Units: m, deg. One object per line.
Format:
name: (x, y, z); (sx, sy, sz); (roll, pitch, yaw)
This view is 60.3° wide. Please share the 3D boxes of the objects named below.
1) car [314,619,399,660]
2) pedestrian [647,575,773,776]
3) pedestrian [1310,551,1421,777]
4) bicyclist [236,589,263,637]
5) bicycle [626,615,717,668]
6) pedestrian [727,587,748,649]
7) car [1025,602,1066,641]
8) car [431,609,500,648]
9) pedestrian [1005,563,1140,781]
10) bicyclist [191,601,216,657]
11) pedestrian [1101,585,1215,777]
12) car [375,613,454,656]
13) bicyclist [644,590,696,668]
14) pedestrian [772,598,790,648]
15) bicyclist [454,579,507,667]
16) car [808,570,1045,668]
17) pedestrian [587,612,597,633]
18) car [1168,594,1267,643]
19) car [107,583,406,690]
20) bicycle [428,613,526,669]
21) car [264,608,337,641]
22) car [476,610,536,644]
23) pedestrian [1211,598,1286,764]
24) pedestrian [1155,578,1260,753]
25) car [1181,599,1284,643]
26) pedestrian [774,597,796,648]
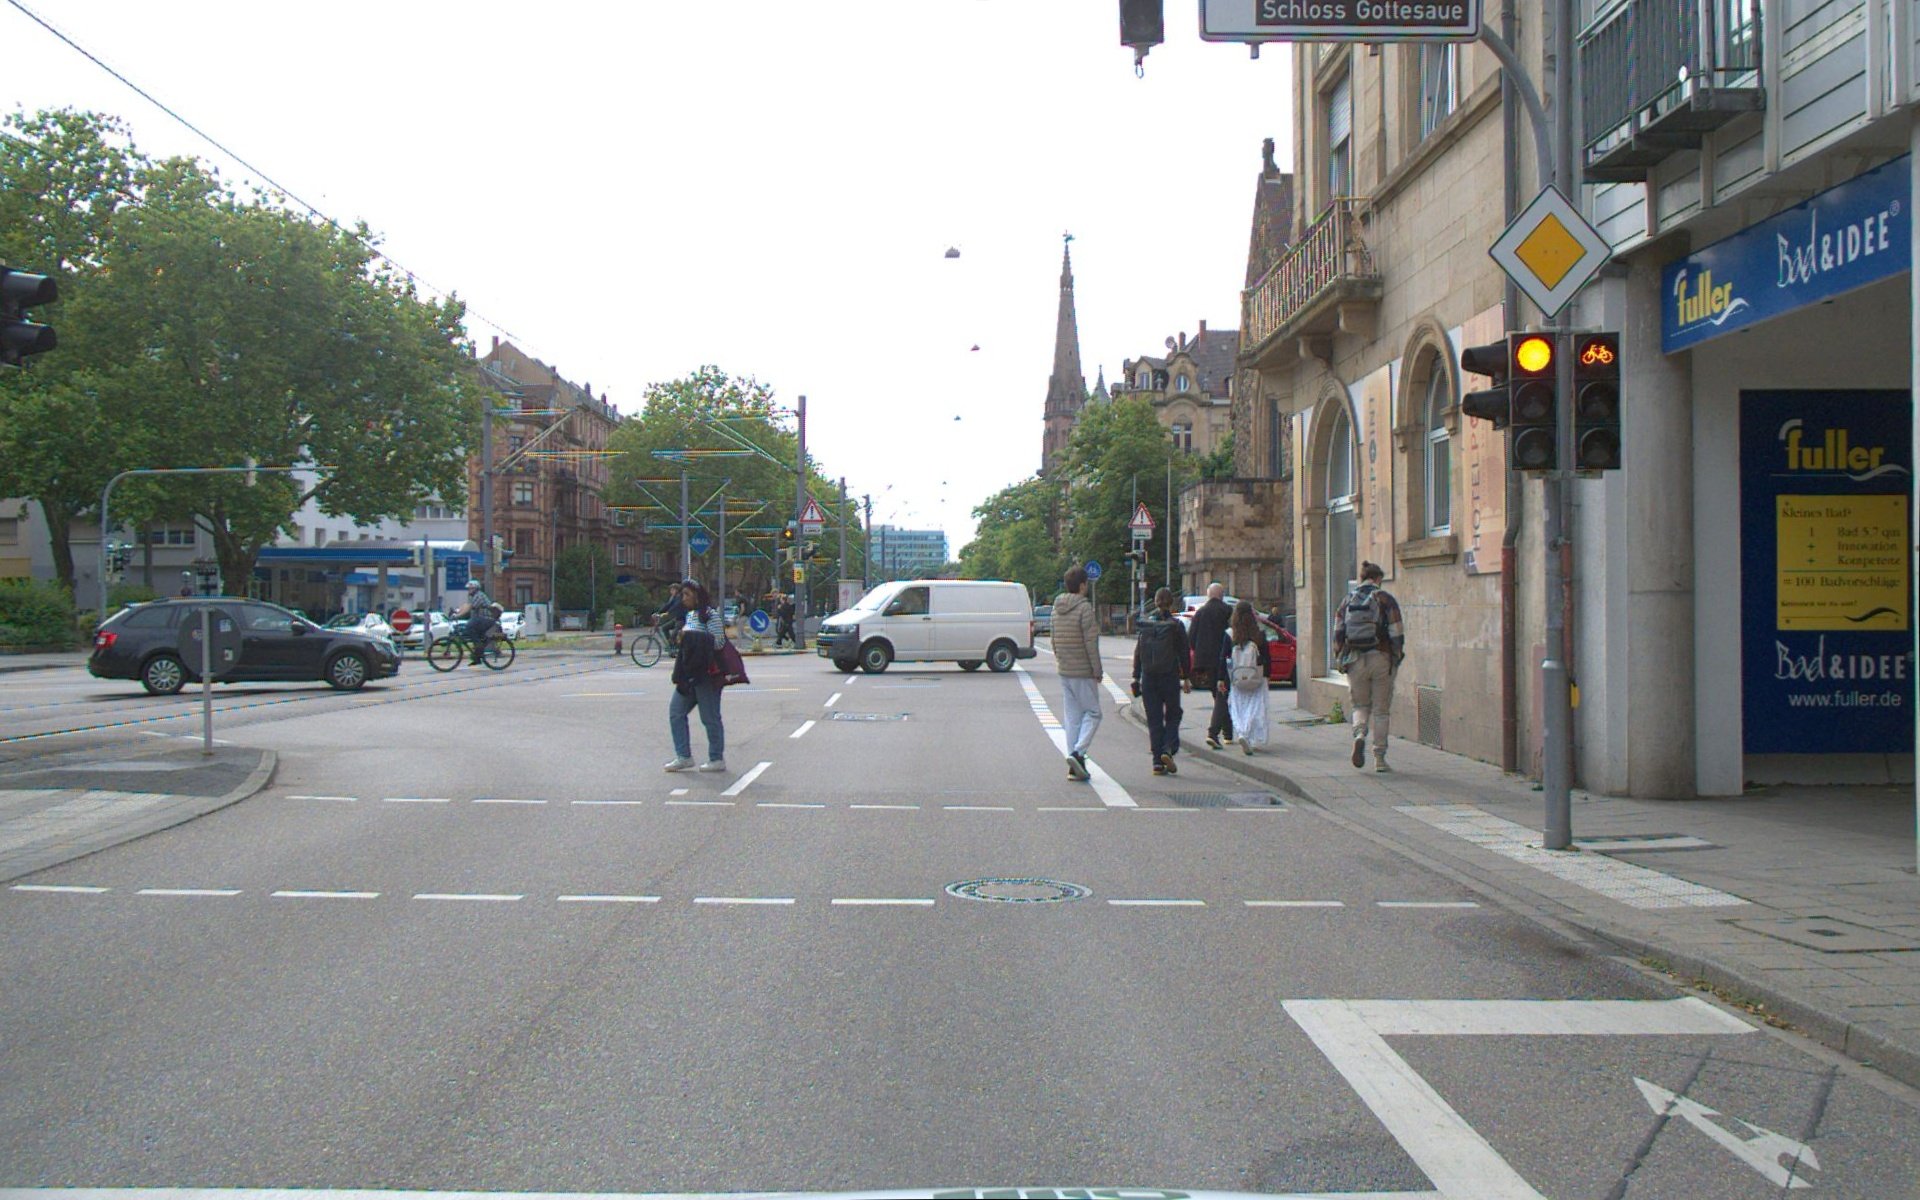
car: (-21.420, 1.382, 58.827); (1.601, 1.349, 3.999); (1, 0, -1)
pedestrian: (-2.209, 0.648, 14.626); (0.659, 1.709, 0.864); (0, -1, 38)
pedestrian: (3.425, 0.524, 13.927); (0.614, 1.809, 1.133); (-3, -1, 24)
bicyclist: (-23.583, 0.430, 54.896); (0.576, 1.595, 0.618); (1, -1, -1)
bicycle: (-6.510, 0.929, 37.280); (1.910, 1.155, 0.731); (1, -1, -22)
pedestrian: (-6.654, 0.528, 49.412); (0.562, 1.826, 0.518); (1, -1, -5)
car: (4.644, 1.176, 90.143); (1.953, 2.049, 3.999); (1, -1, -1)
car: (-21.486, 1.219, 72.007); (1.856, 1.585, 3.835); (1, -1, -1)
pedestrian: (0.981, 0.618, 14.452); (0.998, 1.845, 0.580); (1, -1, -24)
bicyclist: (-24.760, 0.959, 54.117); (0.522, 1.815, 0.470); (1, -1, 19)
pedestrian: (1.823, 0.720, 15.160); (0.616, 1.681, 0.993); (0, -1, 36)
car: (-21.388, 1.335, 65.040); (1.856, 1.585, 3.835); (1, -1, -1)
bicyclist: (-6.527, 0.651, 37.239); (1.023, 1.713, 0.641); (1, -1, -21)
pedestrian: (-5.636, 0.710, 52.154); (0.535, 1.564, 0.465); (1, -1, -5)
bicyclist: (-10.159, 0.494, 35.046); (0.955, 1.851, 0.527); (1, -1, -30)
car: (-0.712, 0.435, 36.023); (4.805, 2.001, 1.972); (1, -1, -27)
pedestrian: (-26.237, 1.585, 117.875); (0.444, 1.486, 0.523); (0, -1, 38)
car: (10.636, 0.750, 68.459); (3.721, 1.937, 2.000); (1, -1, -1)
car: (-11.272, 0.588, 26.593); (4.274, 1.614, 1.796); (1, -1, -27)
bicycle: (-10.235, 0.876, 35.056); (1.880, 1.162, 0.622); (1, -1, -30)
car: (-31.856, 1.166, 79.971); (1.953, 1.557, 3.999); (1, -1, -1)
car: (-21.653, 1.272, 78.986); (1.856, 1.585, 3.835); (1, -1, -1)
pedestrian: (2.899, 0.796, 16.669); (0.685, 1.621, 0.831); (1, -1, 7)
pedestrian: (2.650, 0.684, 17.726); (0.900, 1.815, 0.645); (0, -1, 37)
car: (10.683, 0.832, 65.049); (3.721, 1.629, 2.000); (1, -1, -1)
pedestrian: (-5.454, 0.691, 51.562); (0.640, 1.564, 0.465); (1, -1, -5)
